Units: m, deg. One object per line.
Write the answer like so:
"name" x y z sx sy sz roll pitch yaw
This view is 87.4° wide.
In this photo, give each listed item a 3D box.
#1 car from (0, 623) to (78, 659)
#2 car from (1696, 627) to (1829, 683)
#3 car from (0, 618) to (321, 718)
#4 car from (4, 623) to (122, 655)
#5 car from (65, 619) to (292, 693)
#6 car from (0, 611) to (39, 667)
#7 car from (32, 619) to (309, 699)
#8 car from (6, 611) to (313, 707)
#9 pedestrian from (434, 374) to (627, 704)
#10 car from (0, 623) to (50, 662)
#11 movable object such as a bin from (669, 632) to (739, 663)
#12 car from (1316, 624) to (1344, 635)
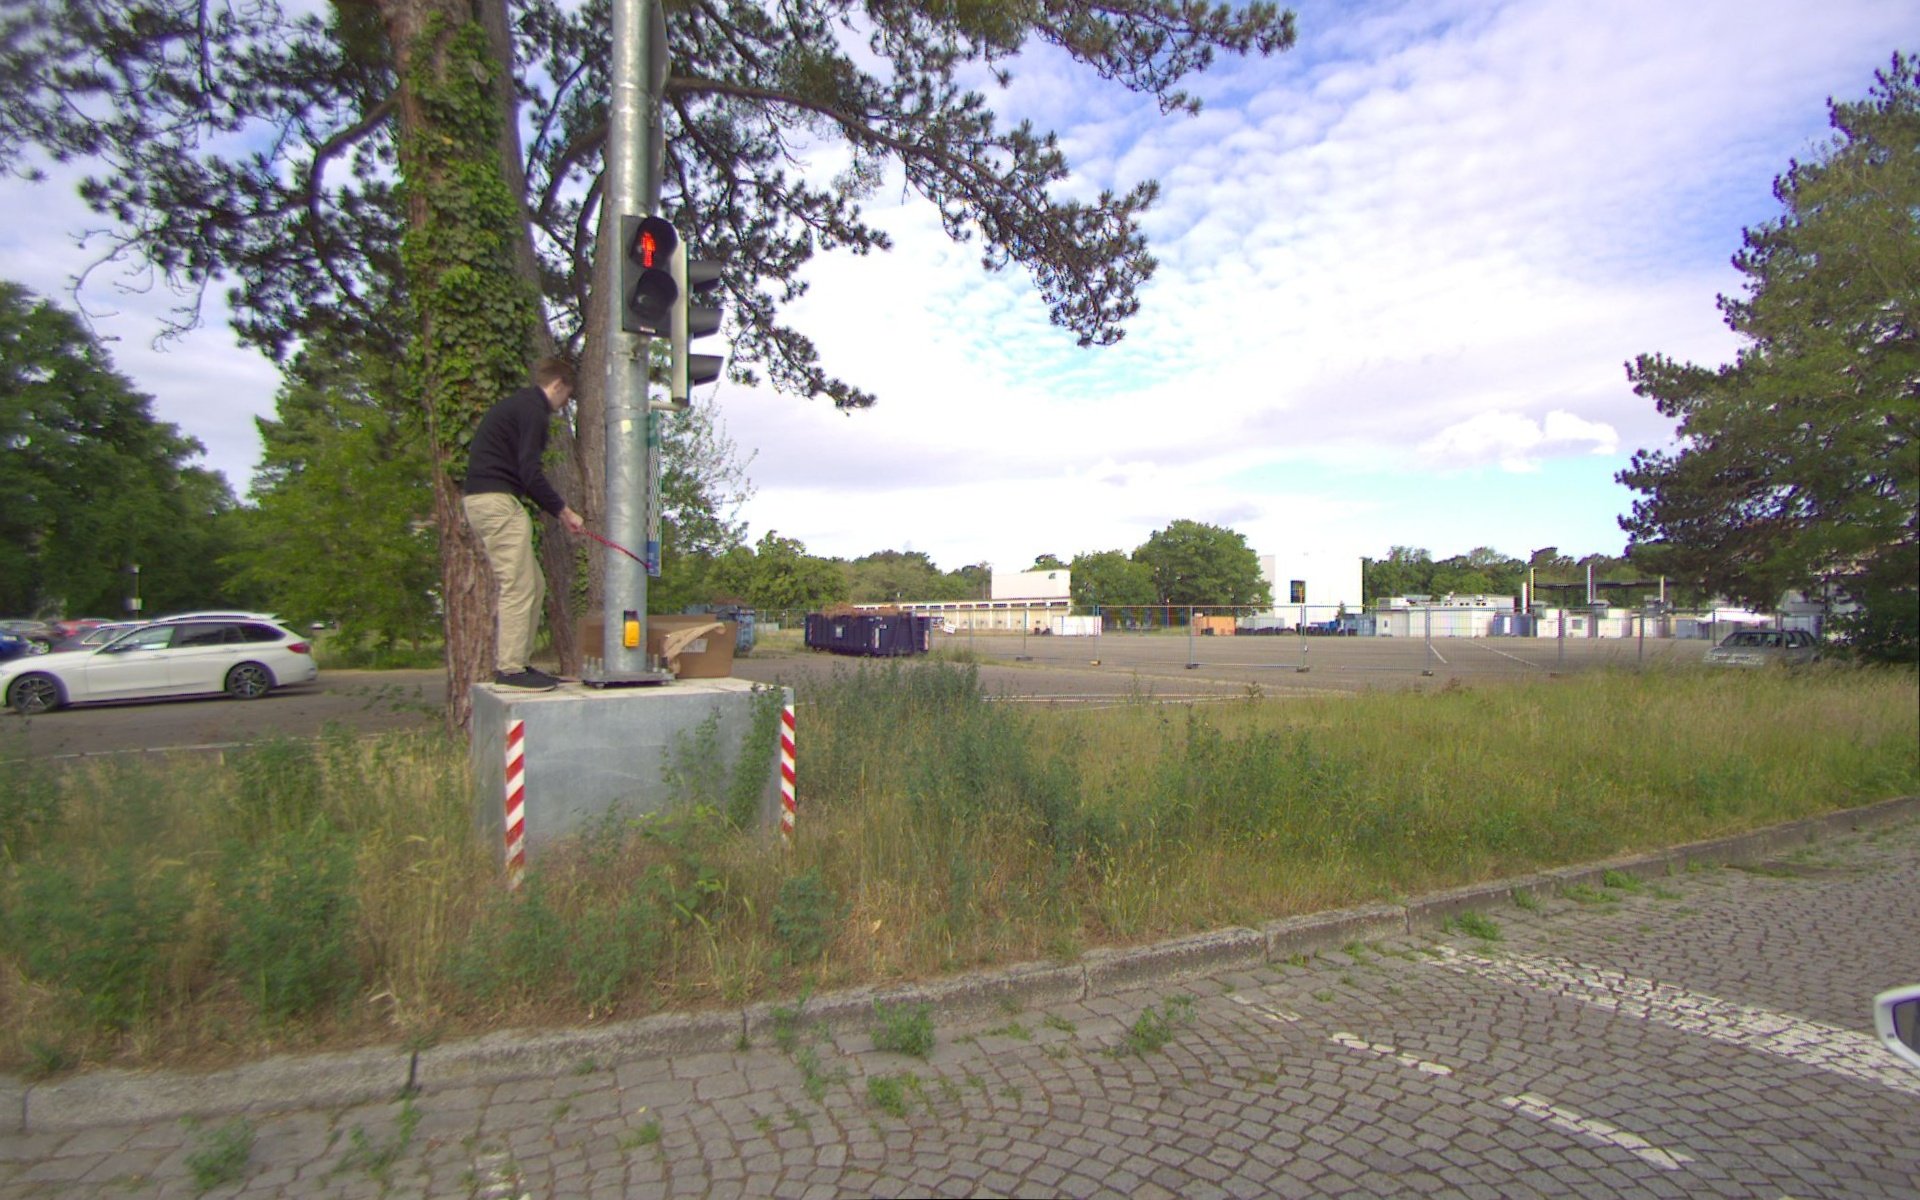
"car" -43.440 1.898 45.831 4.536 1.542 1.824 -1 0 -34
"car" 22.682 1.505 28.364 4.420 1.457 1.705 1 -1 -34
"car" -14.000 1.110 17.670 4.606 1.470 1.824 -1 0 -34
"car" -48.649 2.076 54.594 4.536 1.542 1.824 -1 0 -34
"car" -18.598 1.291 24.166 4.066 1.542 1.724 -1 0 -31
"car" -38.704 1.534 38.347 4.926 2.125 1.825 -1 0 -33
"car" -16.986 1.214 21.958 4.532 1.489 1.826 -1 0 -31
"car" -15.471 1.077 19.806 4.536 1.599 1.824 -1 0 -34
"pedestrian" -2.182 -0.273 5.222 0.808 1.537 0.881 0 -1 -17
"car" -39.913 1.774 40.700 4.243 1.542 1.734 -1 0 -34
"movable object such as a bin" -8.146 1.505 31.940 1.919 0.945 1.030 1 -2 -38
"car" 57.306 4.553 155.701 1.613 1.553 3.944 1 -1 -33
